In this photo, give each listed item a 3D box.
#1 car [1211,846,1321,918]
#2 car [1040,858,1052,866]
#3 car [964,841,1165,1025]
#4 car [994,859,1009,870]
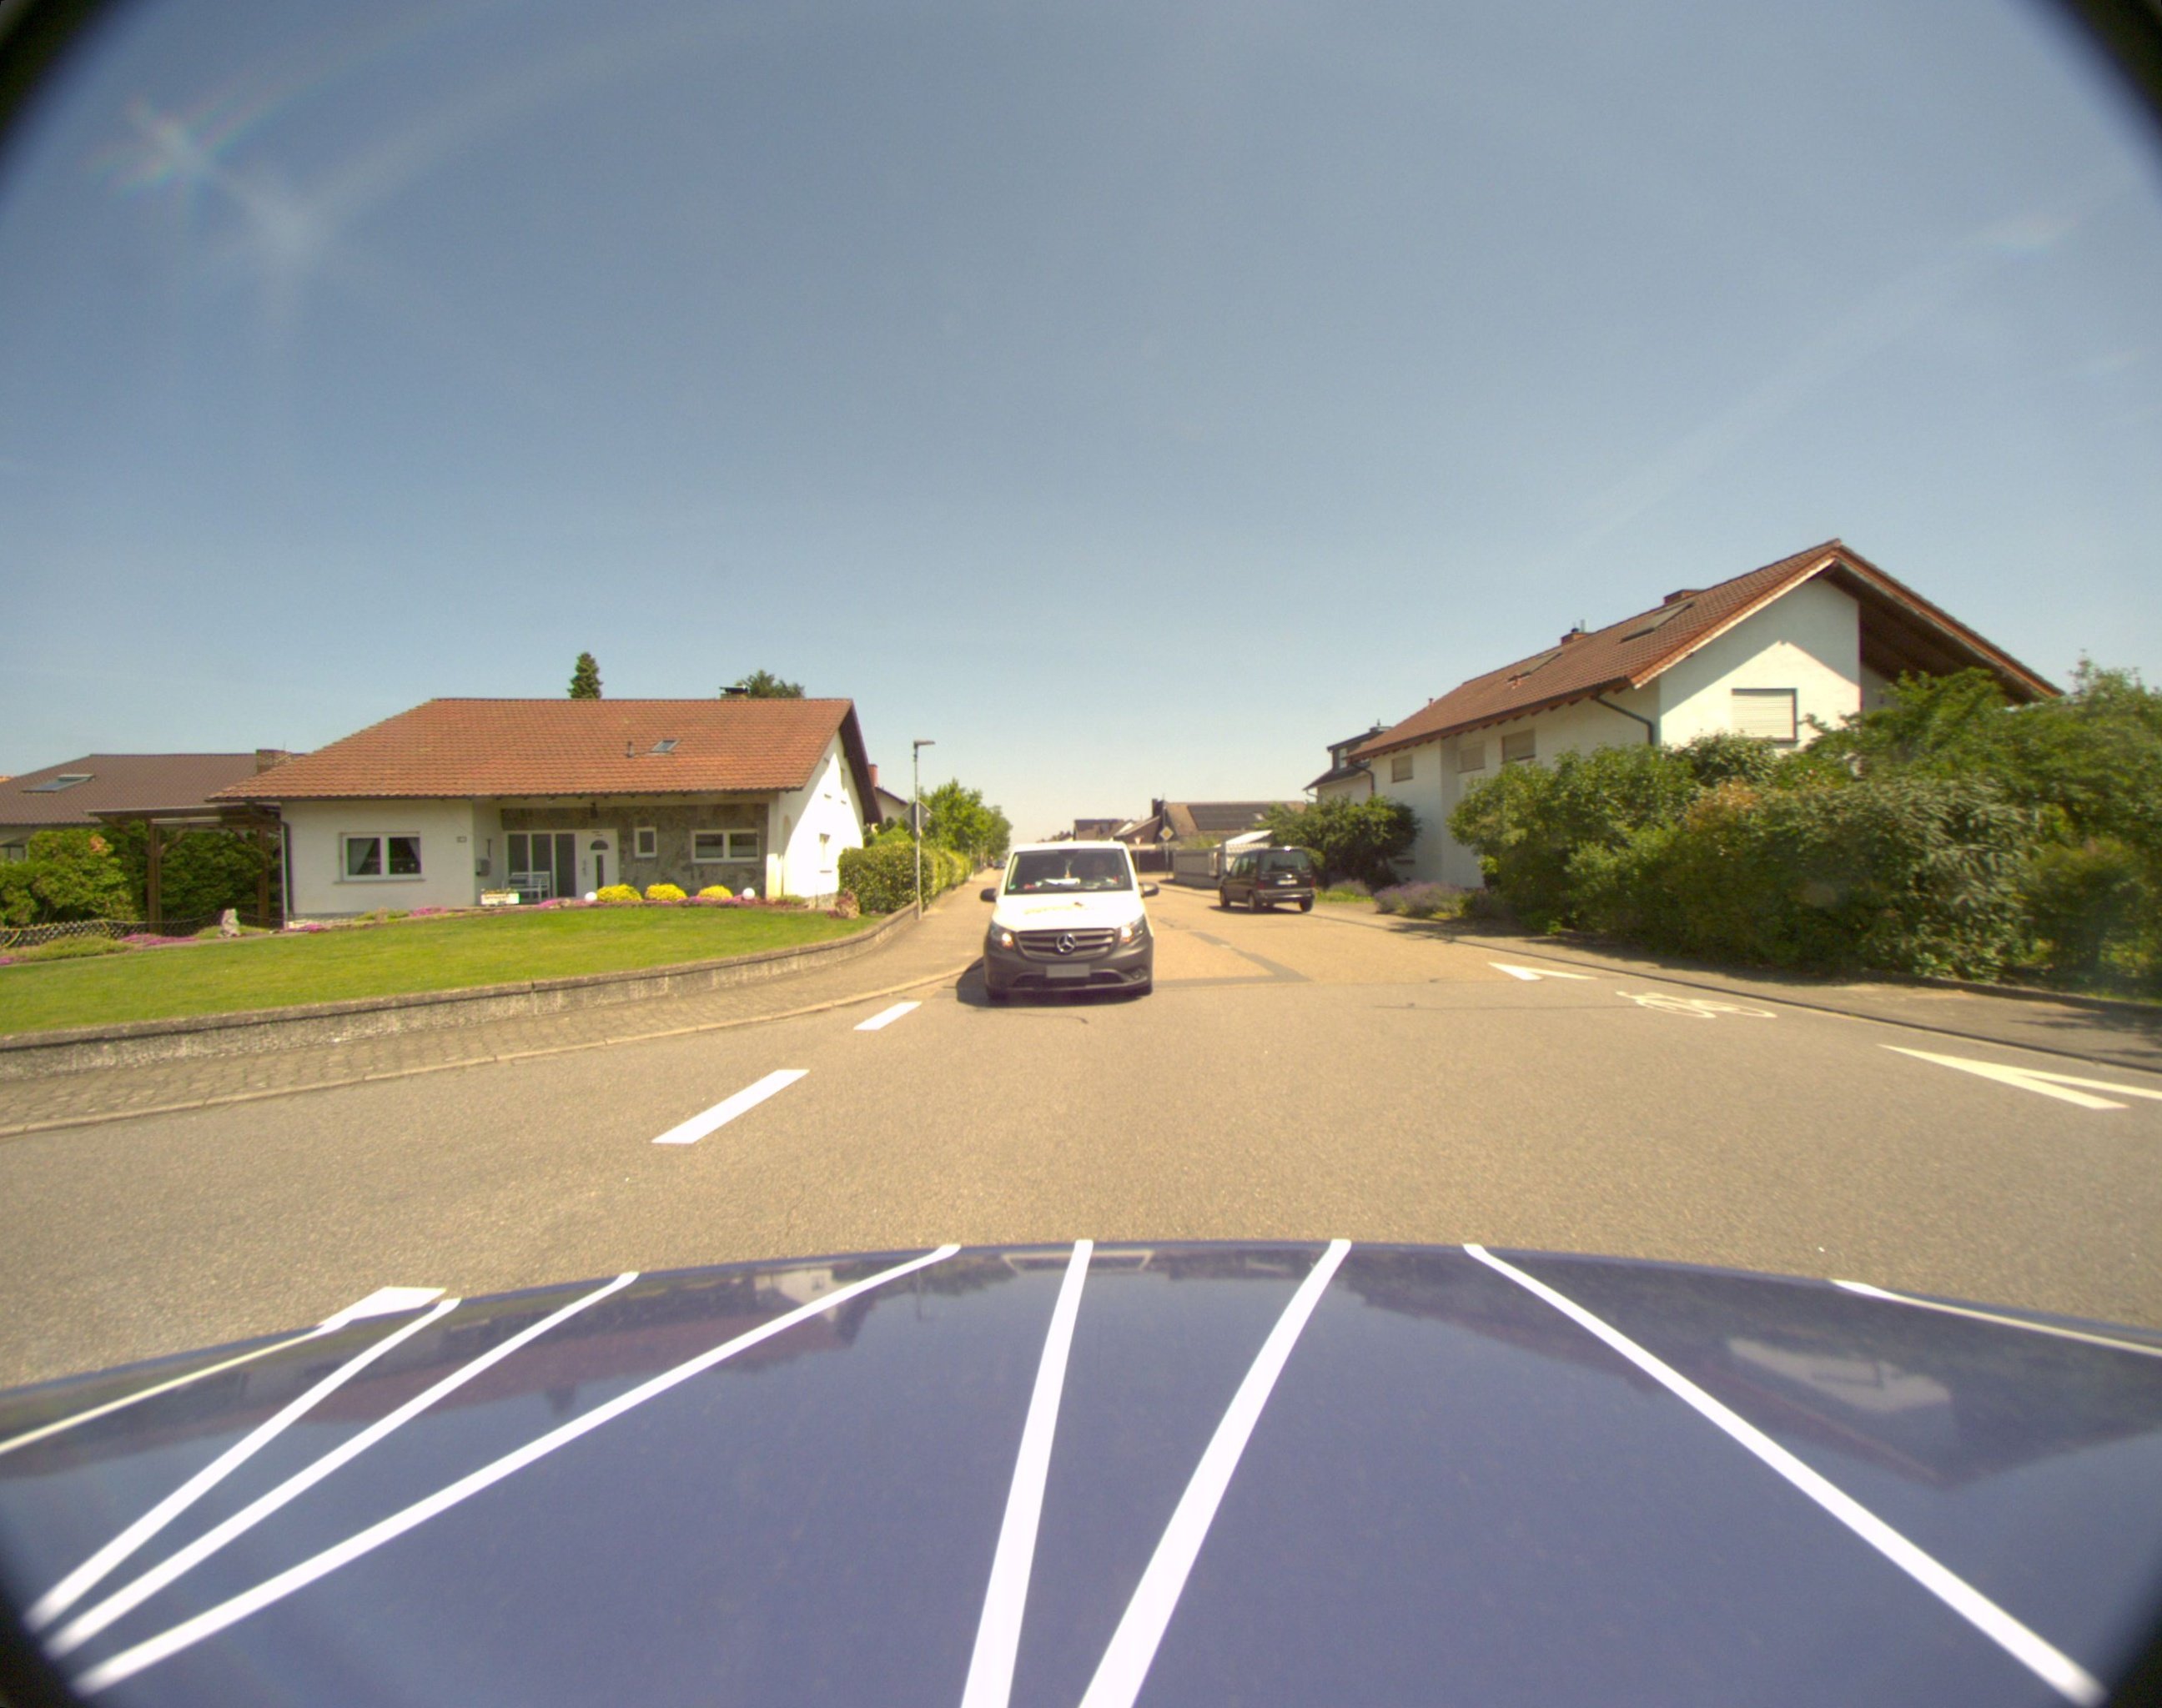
[{"bbox_3d":[5.191,0.726,21.859,1.723,1.835,4.051,-1,0,-7],"label":"car"},{"bbox_3d":[-6.334,1.441,136.546,1.999,1.390,3.998,-1,0,-3],"label":"car"},{"bbox_3d":[-0.159,0.791,10.292,2.018,1.846,5.067,-1,1,0],"label":"car"},{"bbox_3d":[-12.303,1.647,117.666,1.999,1.587,3.998,-1,1,-4],"label":"car"}]
